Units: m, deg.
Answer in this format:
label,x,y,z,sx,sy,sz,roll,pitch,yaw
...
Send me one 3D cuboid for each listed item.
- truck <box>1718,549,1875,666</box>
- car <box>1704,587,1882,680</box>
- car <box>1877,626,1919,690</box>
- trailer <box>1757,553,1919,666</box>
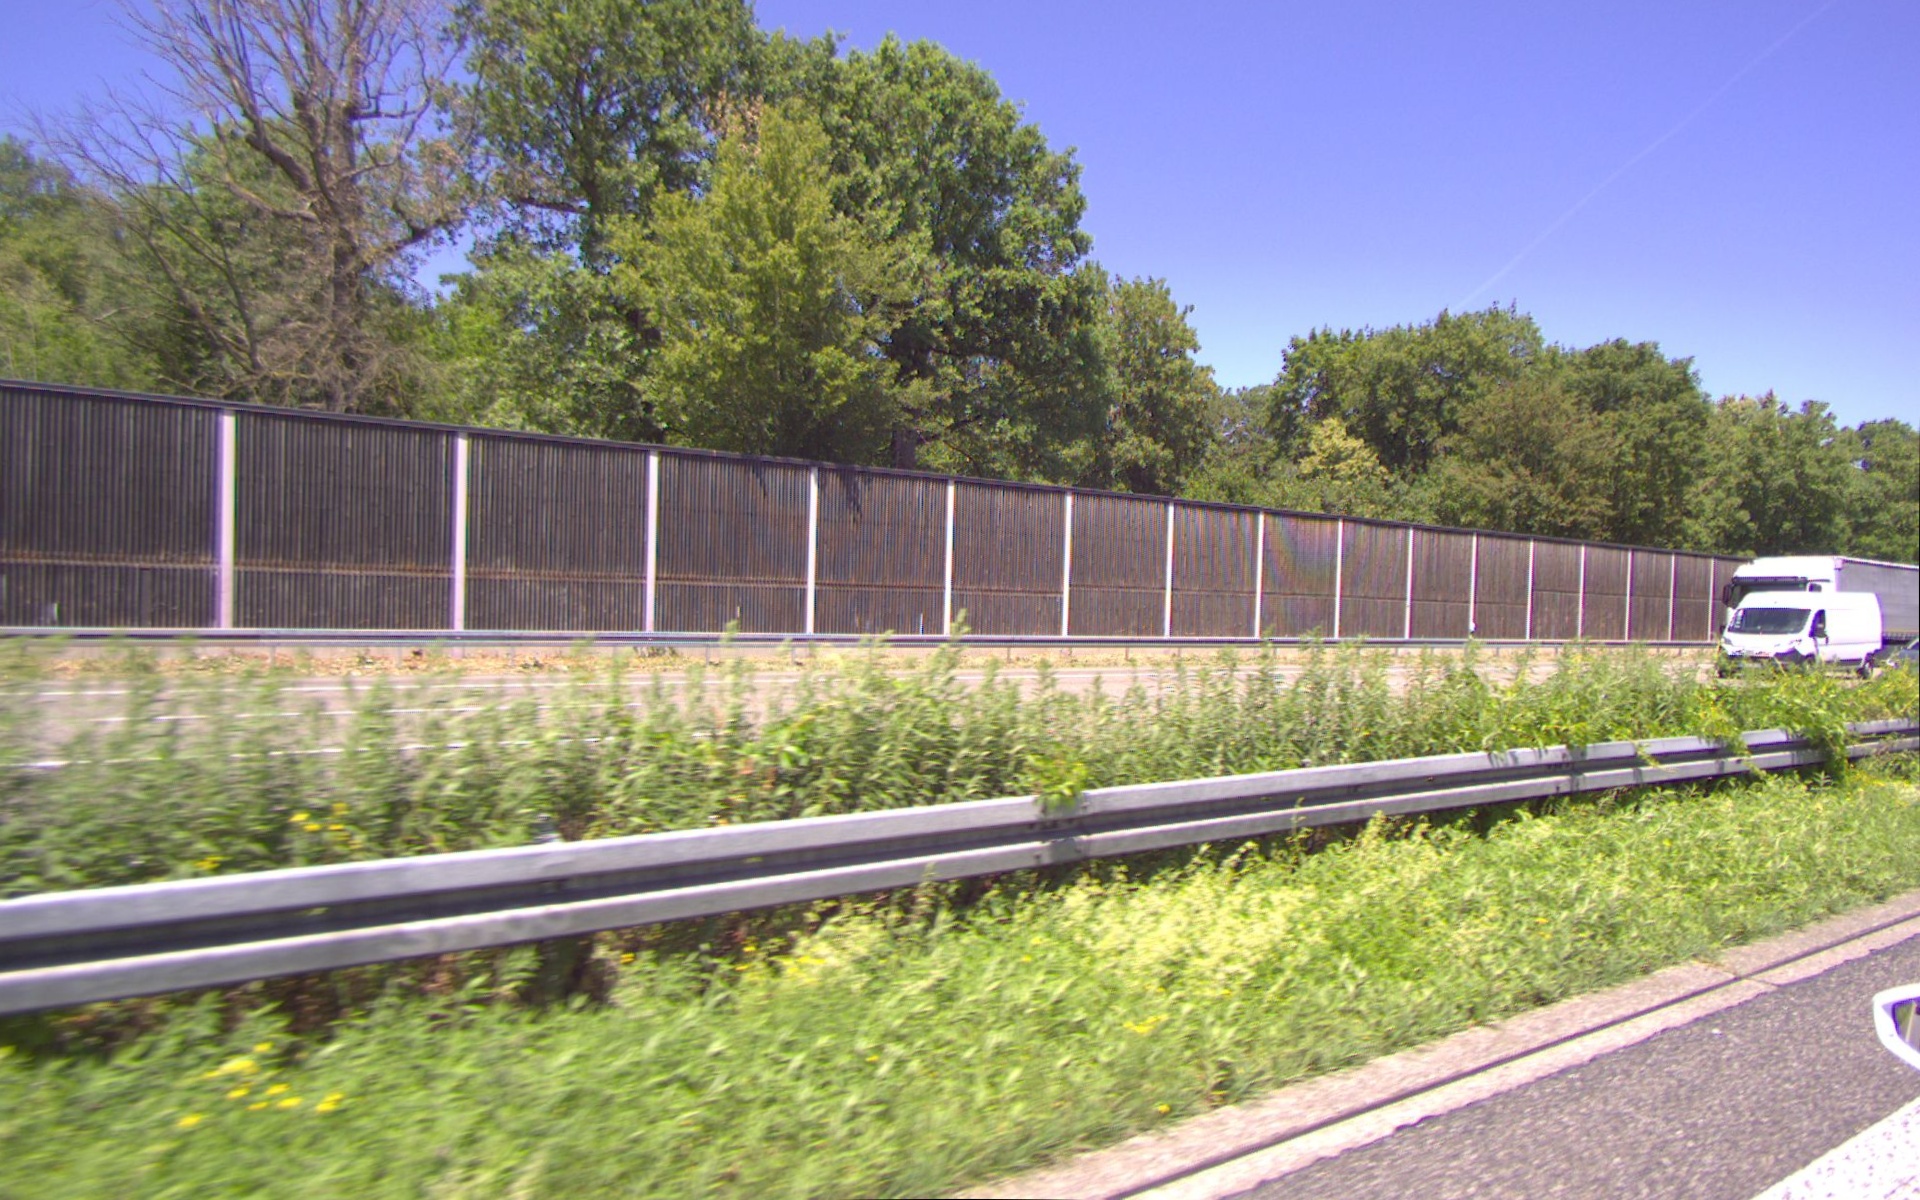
label,x,y,z,sx,sy,sz,roll,pitch,yaw
truck,31.457,0.330,37.724,6.287,4.109,2.490,1,0,-30
car,23.840,0.946,28.661,5.974,2.433,2.069,2,0,-31
car,23.922,1.396,24.111,3.889,1.447,1.751,2,0,-31
trailer,37.116,0.491,41.015,13.263,4.088,2.492,2,0,-30
